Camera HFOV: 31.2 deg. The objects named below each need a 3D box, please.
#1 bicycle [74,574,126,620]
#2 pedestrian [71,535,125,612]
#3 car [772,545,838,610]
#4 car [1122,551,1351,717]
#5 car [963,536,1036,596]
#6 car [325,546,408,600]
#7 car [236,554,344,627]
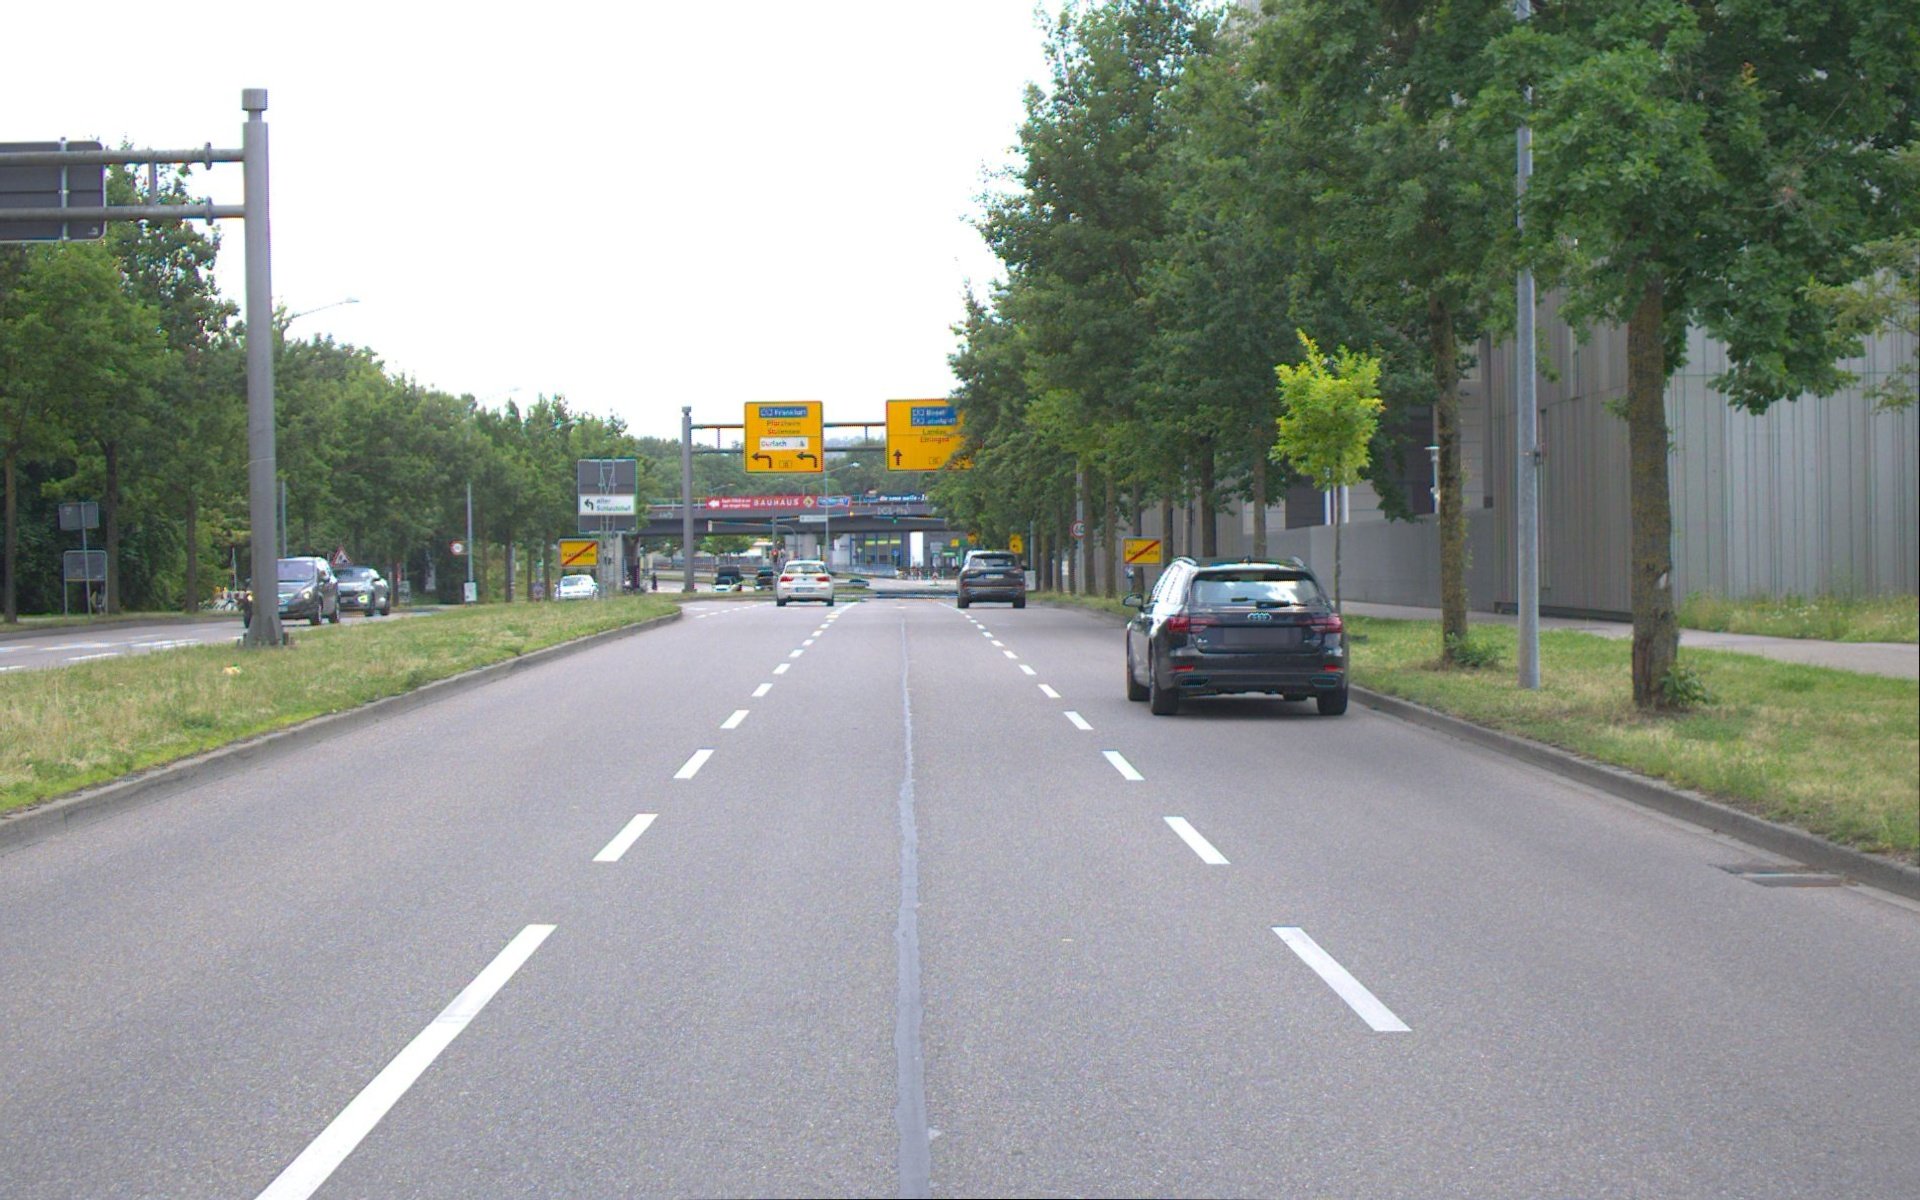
[{"bbox_3d":[-23.662,-0.088,94.617,0.807,1.222,2.502,-1,1,0],"label":"bicycle"},{"bbox_3d":[-23.671,-0.735,94.436,0.970,2.007,1.249,-5,1,1],"label":"pedestrian"},{"bbox_3d":[-4.904,-0.717,108.210,1.993,2.007,4.001,0,0,-4],"label":"car"},{"bbox_3d":[2.539,0.287,32.388,1.683,1.458,4.000,0,0,-2],"label":"car"},{"bbox_3d":[1.132,-0.972,97.081,1.993,1.620,4.309,-1,1,1],"label":"car"},{"bbox_3d":[-17.883,-0.837,103.723,1.741,1.540,4.574,-2,1,-1],"label":"car"},{"bbox_3d":[-15.467,-0.238,79.511,1.741,1.563,4.276,-2,1,-2],"label":"car"}]
